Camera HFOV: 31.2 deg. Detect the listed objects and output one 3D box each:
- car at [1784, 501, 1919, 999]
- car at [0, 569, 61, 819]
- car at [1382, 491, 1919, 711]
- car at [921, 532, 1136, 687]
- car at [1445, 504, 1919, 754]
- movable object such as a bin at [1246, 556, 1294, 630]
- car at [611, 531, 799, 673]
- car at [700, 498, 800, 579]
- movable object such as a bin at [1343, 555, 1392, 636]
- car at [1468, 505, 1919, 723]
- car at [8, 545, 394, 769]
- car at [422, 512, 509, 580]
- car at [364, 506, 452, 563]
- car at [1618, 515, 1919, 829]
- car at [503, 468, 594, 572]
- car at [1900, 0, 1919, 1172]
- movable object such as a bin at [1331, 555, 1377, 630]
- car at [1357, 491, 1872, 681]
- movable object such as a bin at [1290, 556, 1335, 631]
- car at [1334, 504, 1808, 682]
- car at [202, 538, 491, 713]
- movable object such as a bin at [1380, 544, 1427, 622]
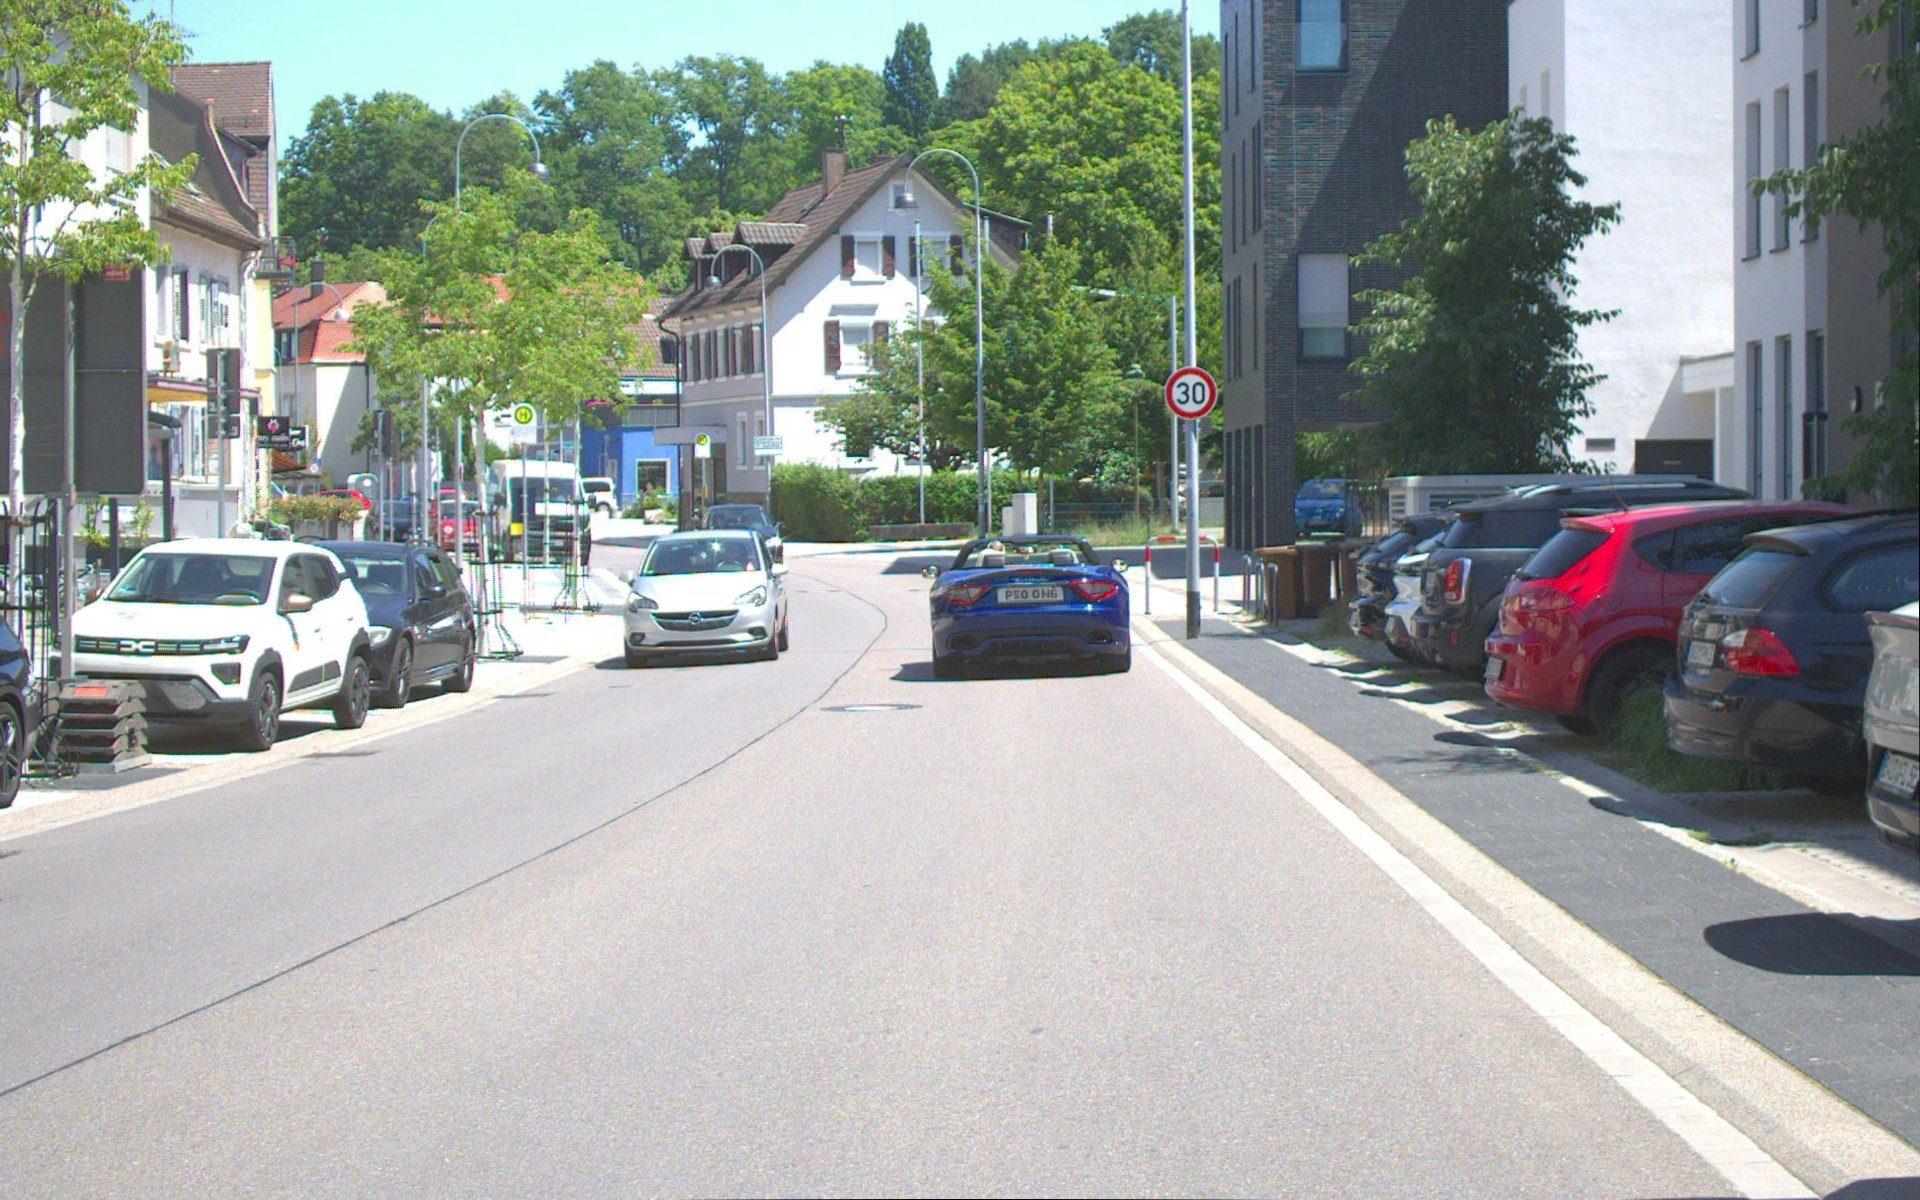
[{"bbox_3d":[5.254,0.420,11.388,4.588,1.524,2.000,-1,1,2],"label":"car"},{"bbox_3d":[-6.552,0.580,18.612,1.834,1.424,4.782,1,2,4],"label":"car"},{"bbox_3d":[5.379,-0.010,26.618,3.980,1.599,1.943,-1,1,1],"label":"car"},{"bbox_3d":[0.744,0.042,33.849,1.871,1.337,4.596,-2,1,4],"label":"car"},{"bbox_3d":[5.127,0.136,21.227,3.970,1.404,1.857,-2,1,0],"label":"car"},{"bbox_3d":[3.961,-0.092,43.991,0.537,0.926,0.623,-2,1,2],"label":"movable object such as a bin"},{"bbox_3d":[-2.857,-0.018,39.243,1.687,1.453,4.058,-2,1,2],"label":"car"},{"bbox_3d":[-4.480,-1.310,72.877,1.660,1.601,4.001,-2,1,-9],"label":"car"},{"bbox_3d":[4.805,-0.060,40.578,0.495,0.926,0.623,-2,1,2],"label":"movable object such as a bin"},{"bbox_3d":[5.643,0.073,23.840,3.980,1.427,1.763,-1,1,1],"label":"car"},{"bbox_3d":[-5.633,0.367,25.985,1.645,1.474,3.940,1,2,6],"label":"car"},{"bbox_3d":[-13.119,-1.424,91.028,1.993,1.732,4.001,-1,1,-12],"label":"car"},{"bbox_3d":[-16.558,-1.973,102.948,1.993,1.686,4.001,0,2,-18],"label":"car"},{"bbox_3d":[5.511,0.292,16.575,4.257,1.411,1.928,-1,1,-2],"label":"car"},{"bbox_3d":[-9.872,-1.923,82.286,1.866,2.392,4.820,-1,1,-10],"label":"car"},{"bbox_3d":[5.044,-0.116,6.482,5.940,2.723,2.196,-1,1,1],"label":"car"},{"bbox_3d":[5.033,-0.103,43.943,0.495,0.926,0.623,-2,1,2],"label":"movable object such as a bin"},{"bbox_3d":[5.467,-0.131,29.100,3.980,1.524,1.943,-1,1,1],"label":"car"},{"bbox_3d":[4.509,-0.082,43.956,0.495,0.926,0.623,-2,1,2],"label":"movable object such as a bin"},{"bbox_3d":[5.465,-0.076,31.103,3.980,1.524,1.740,-1,1,1],"label":"car"},{"bbox_3d":[-5.525,0.184,31.428,1.670,1.438,4.009,0,2,4],"label":"car"},{"bbox_3d":[5.360,-0.210,41.591,0.495,0.926,0.623,-1,1,2],"label":"movable object such as a bin"}]
